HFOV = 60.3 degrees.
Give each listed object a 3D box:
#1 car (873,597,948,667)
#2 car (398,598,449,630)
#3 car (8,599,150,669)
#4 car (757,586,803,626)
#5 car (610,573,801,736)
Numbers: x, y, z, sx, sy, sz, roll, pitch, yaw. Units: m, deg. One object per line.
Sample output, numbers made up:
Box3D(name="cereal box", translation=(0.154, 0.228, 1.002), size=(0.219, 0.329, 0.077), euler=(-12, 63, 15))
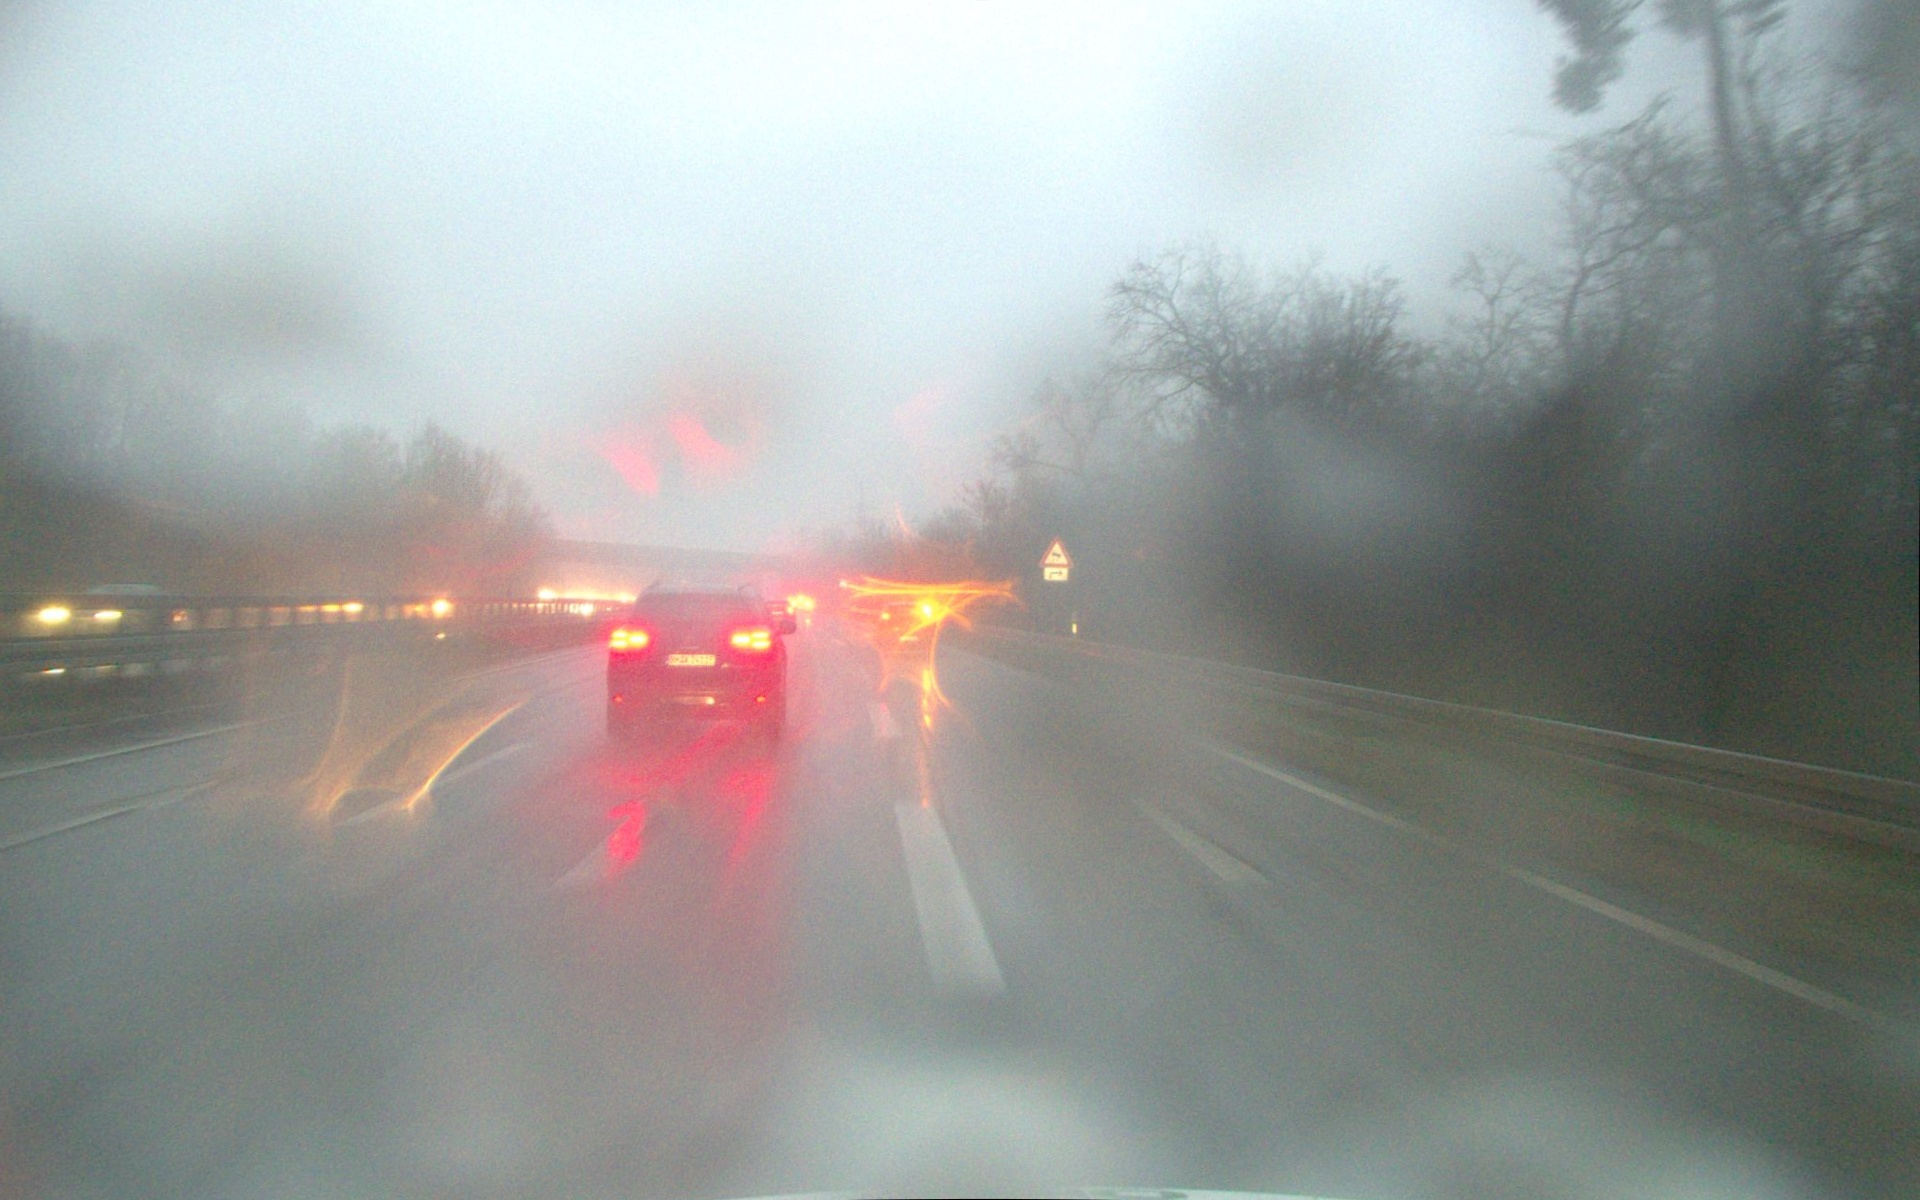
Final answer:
Box3D(name="car", translation=(-1.417, 0.848, 45.778), size=(1.699, 1.453, 3.762), euler=(-1, 6, -8))
Box3D(name="car", translation=(-27.122, 0.684, 83.573), size=(1.723, 1.513, 3.962), euler=(2, 0, -28))
Box3D(name="car", translation=(-21.455, 0.796, 40.477), size=(1.712, 1.513, 4.418), euler=(3, 0, -10))
Box3D(name="car", translation=(-8.204, 0.258, 75.283), size=(1.844, 1.645, 3.867), euler=(2, 1, -9))
Box3D(name="car", translation=(-2.884, 0.564, 19.227), size=(1.956, 1.694, 3.994), euler=(0, 0, -7))
